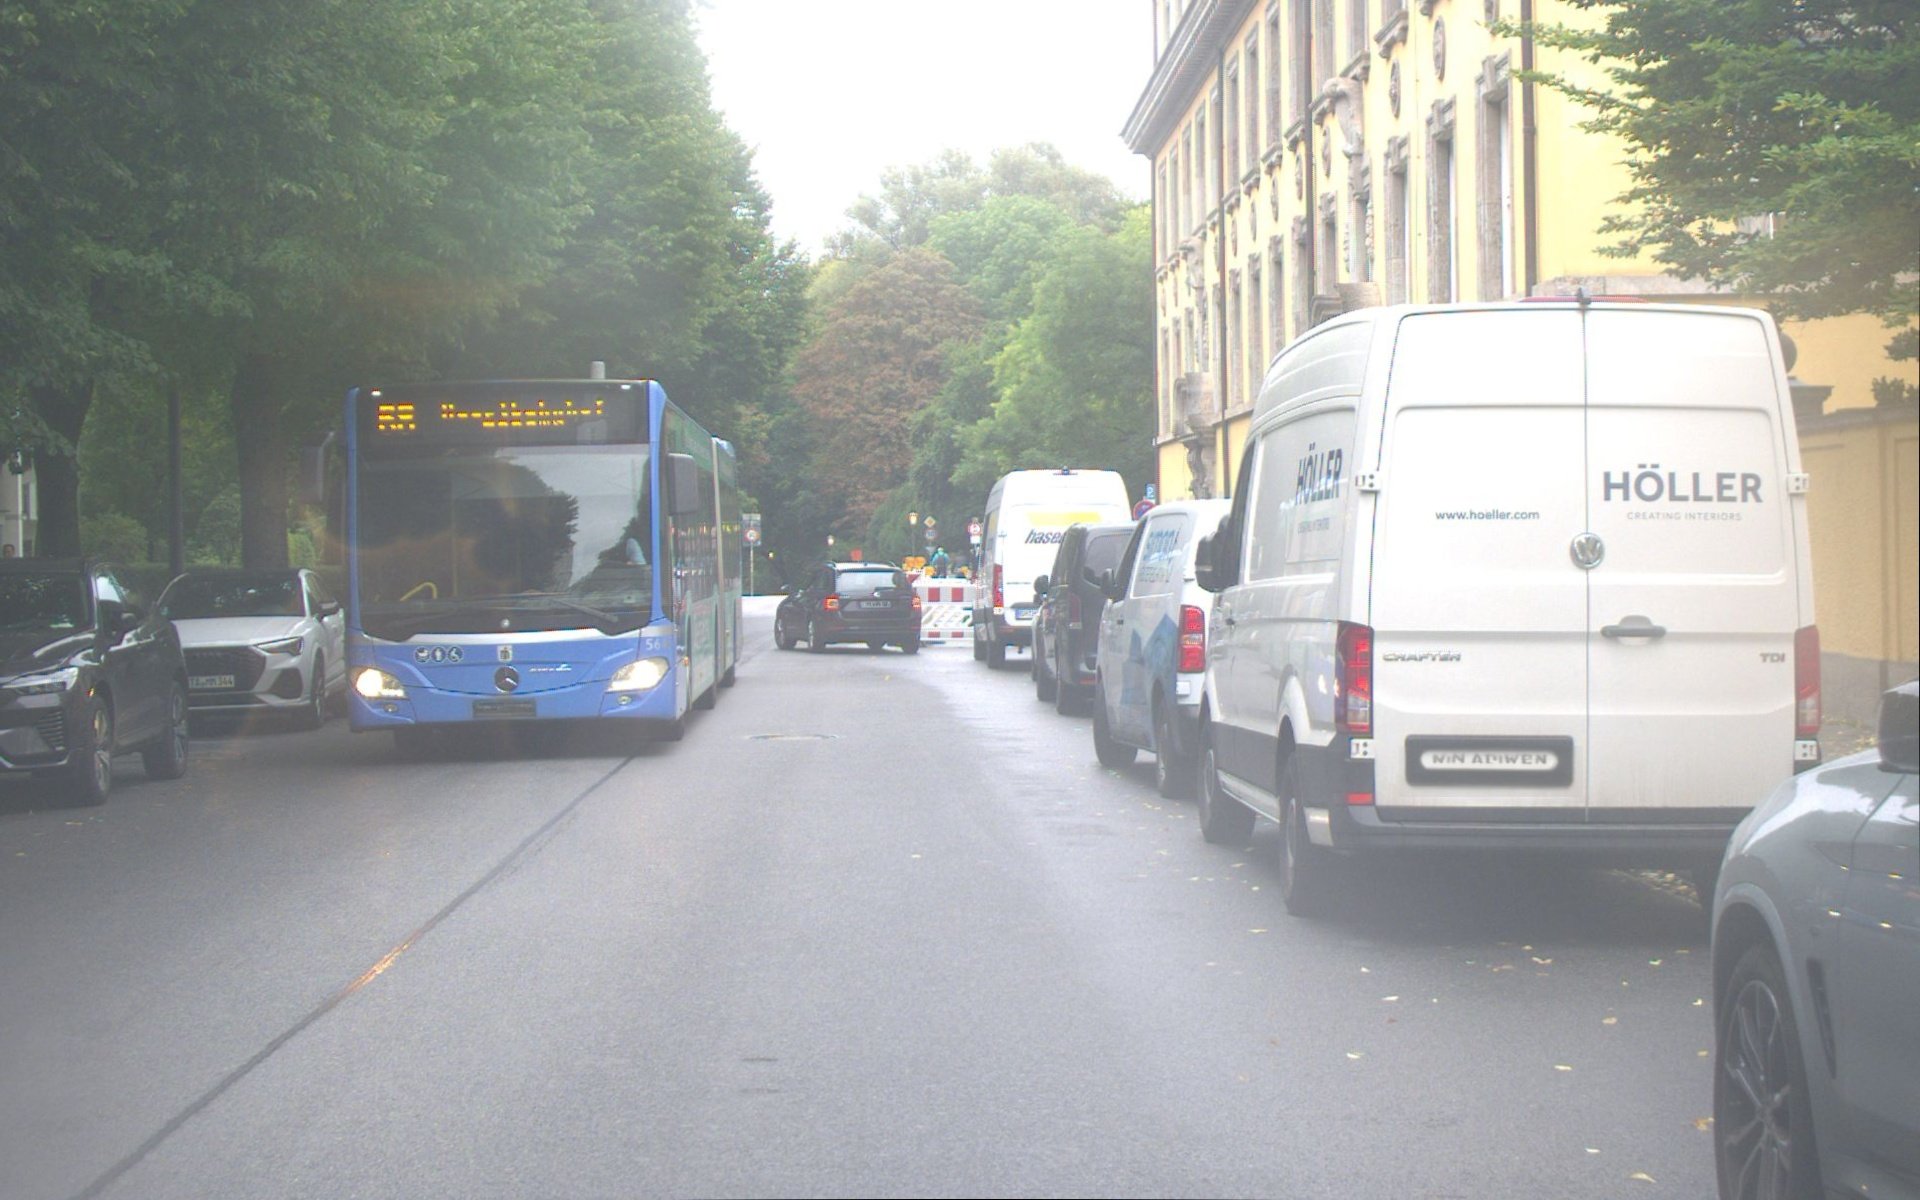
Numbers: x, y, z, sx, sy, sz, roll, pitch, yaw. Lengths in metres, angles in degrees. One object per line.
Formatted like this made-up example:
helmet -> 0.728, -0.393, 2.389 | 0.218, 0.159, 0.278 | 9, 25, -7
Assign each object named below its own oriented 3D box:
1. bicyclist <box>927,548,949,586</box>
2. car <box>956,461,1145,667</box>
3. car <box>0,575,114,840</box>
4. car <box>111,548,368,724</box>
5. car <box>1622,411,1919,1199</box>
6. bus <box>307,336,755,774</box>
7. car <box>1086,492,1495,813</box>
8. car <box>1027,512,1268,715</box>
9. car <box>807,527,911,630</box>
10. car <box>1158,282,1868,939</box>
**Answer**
bicyclist -> -0.865, -1.312, 135.623 | 0.680, 1.499, 0.901 | -1, 1, -9
car -> 1.177, -0.493, 48.778 | 2.054, 2.664, 7.615 | -1, 0, -3
car -> -6.304, 0.603, 20.311 | 1.790, 1.449, 3.949 | -1, 1, -3
car -> -7.043, 0.315, 34.014 | 1.784, 1.592, 4.585 | -1, 0, -3
car -> 2.465, 0.576, 5.262 | 1.858, 1.735, 4.603 | 0, 1, -2
bus -> -3.747, -0.313, 34.857 | 2.859, 3.228, 18.427 | -1, 0, -2
car -> 2.070, 0.286, 23.109 | 2.013, 1.900, 5.164 | 0, 1, -3
car -> 1.789, 0.107, 34.437 | 1.870, 1.862, 4.987 | -1, 0, -3
car -> -1.609, -0.359, 55.550 | 1.577, 1.578, 4.044 | -1, 0, -1
car -> 2.283, 0.043, 15.999 | 2.095, 2.479, 5.740 | -1, 0, -3
